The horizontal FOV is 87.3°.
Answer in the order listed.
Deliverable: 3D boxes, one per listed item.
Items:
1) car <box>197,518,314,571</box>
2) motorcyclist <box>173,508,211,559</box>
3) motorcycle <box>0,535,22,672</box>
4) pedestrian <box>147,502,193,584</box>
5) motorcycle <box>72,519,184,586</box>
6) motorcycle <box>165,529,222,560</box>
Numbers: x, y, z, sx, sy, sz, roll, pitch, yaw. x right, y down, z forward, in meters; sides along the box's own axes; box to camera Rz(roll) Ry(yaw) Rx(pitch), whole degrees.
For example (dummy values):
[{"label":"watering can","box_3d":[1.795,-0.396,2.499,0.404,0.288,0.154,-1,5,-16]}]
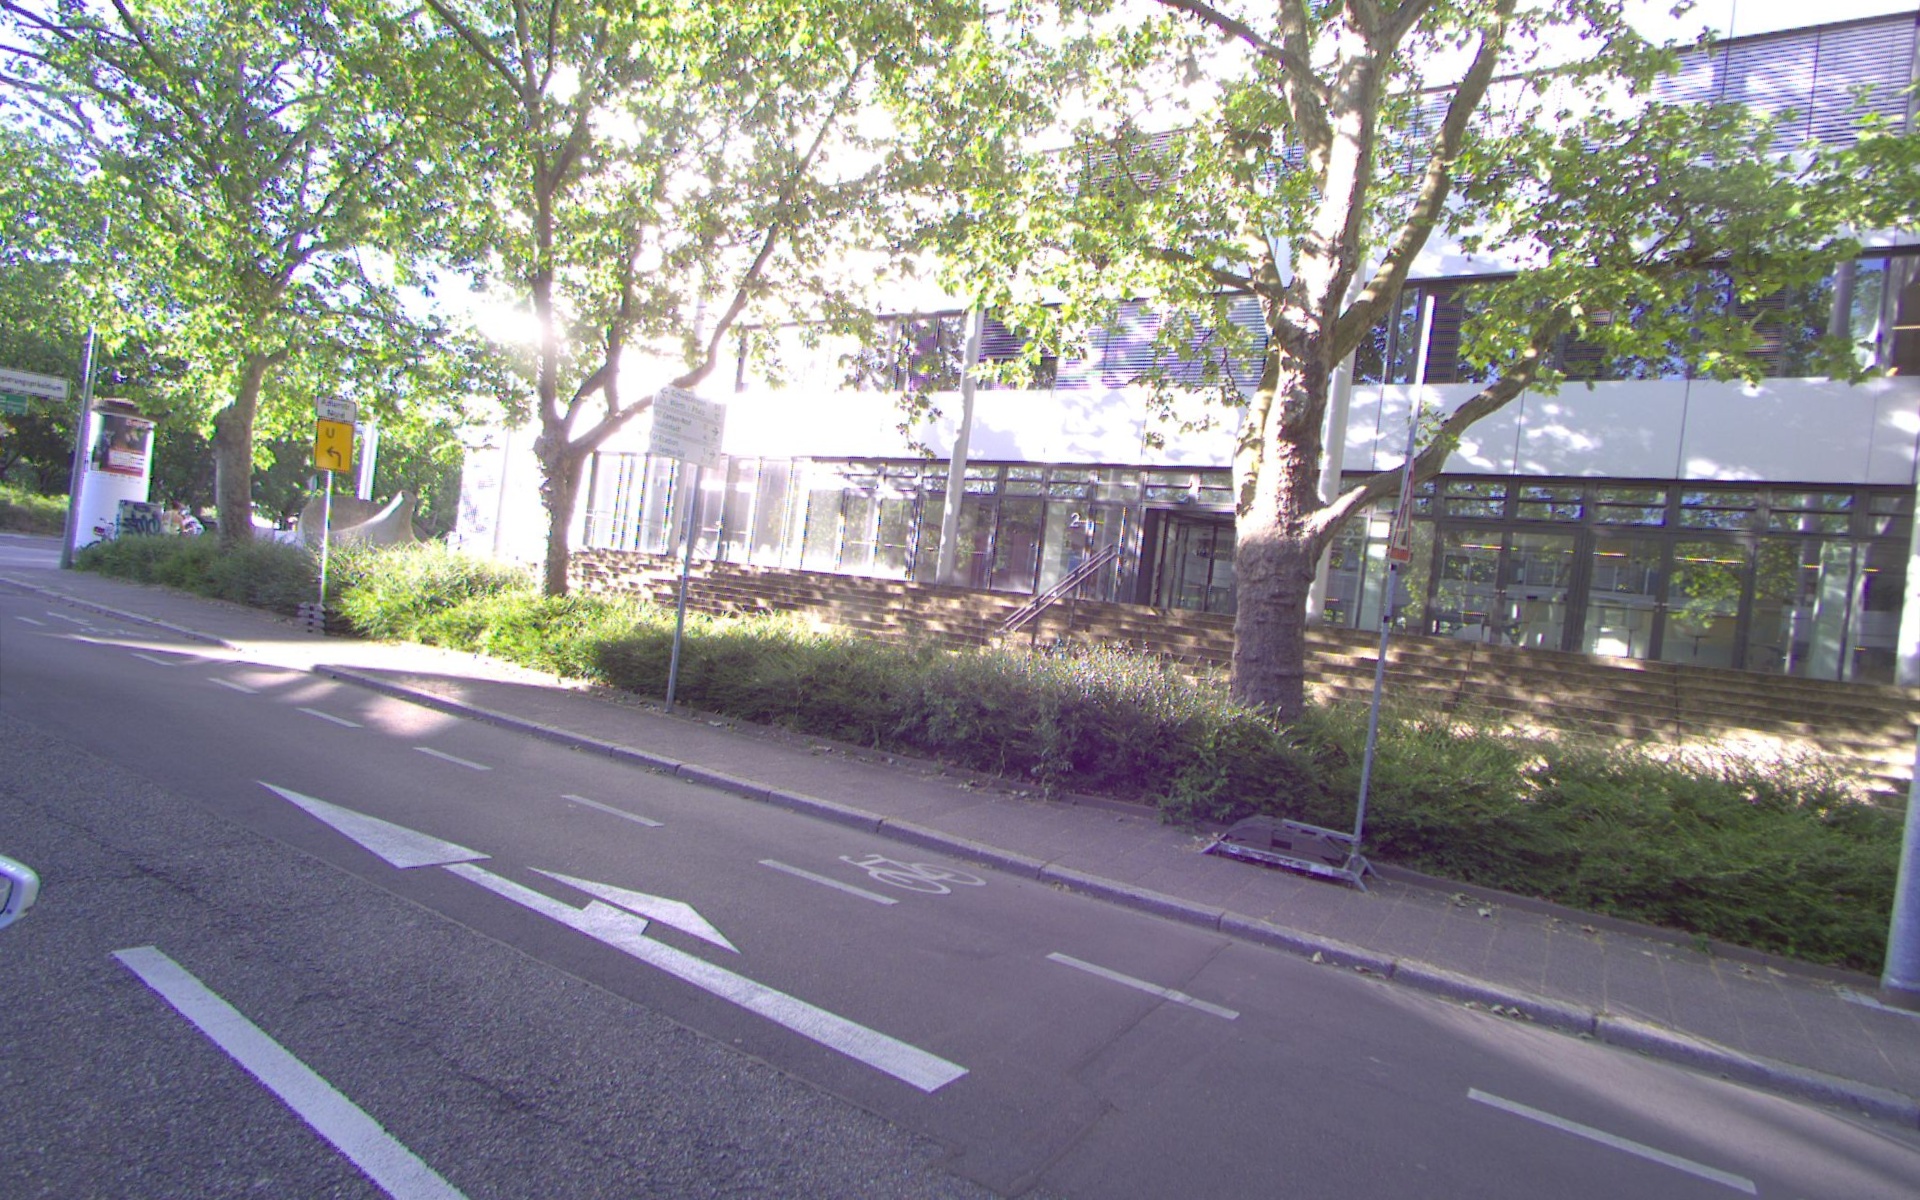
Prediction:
[{"label":"car","box_3d":[-32.713,-2.557,46.831,1.708,1.792,3.996,7,-1,30]},{"label":"motorcyclist","box_3d":[-31.147,-2.697,40.811,0.370,1.899,0.983,6,-1,36]},{"label":"motorcycle","box_3d":[-9.182,-0.095,8.788,2.199,1.145,0.798,6,-2,32]},{"label":"pedestrian","box_3d":[-18.803,-1.359,23.957,0.643,1.849,0.661,7,0,-33]},{"label":"motorcycle","box_3d":[-19.240,-1.092,23.288,0.712,1.257,1.782,6,-2,37]},{"label":"motorcycle","box_3d":[-31.145,-2.247,40.875,0.409,1.014,1.720,7,-1,36]}]
